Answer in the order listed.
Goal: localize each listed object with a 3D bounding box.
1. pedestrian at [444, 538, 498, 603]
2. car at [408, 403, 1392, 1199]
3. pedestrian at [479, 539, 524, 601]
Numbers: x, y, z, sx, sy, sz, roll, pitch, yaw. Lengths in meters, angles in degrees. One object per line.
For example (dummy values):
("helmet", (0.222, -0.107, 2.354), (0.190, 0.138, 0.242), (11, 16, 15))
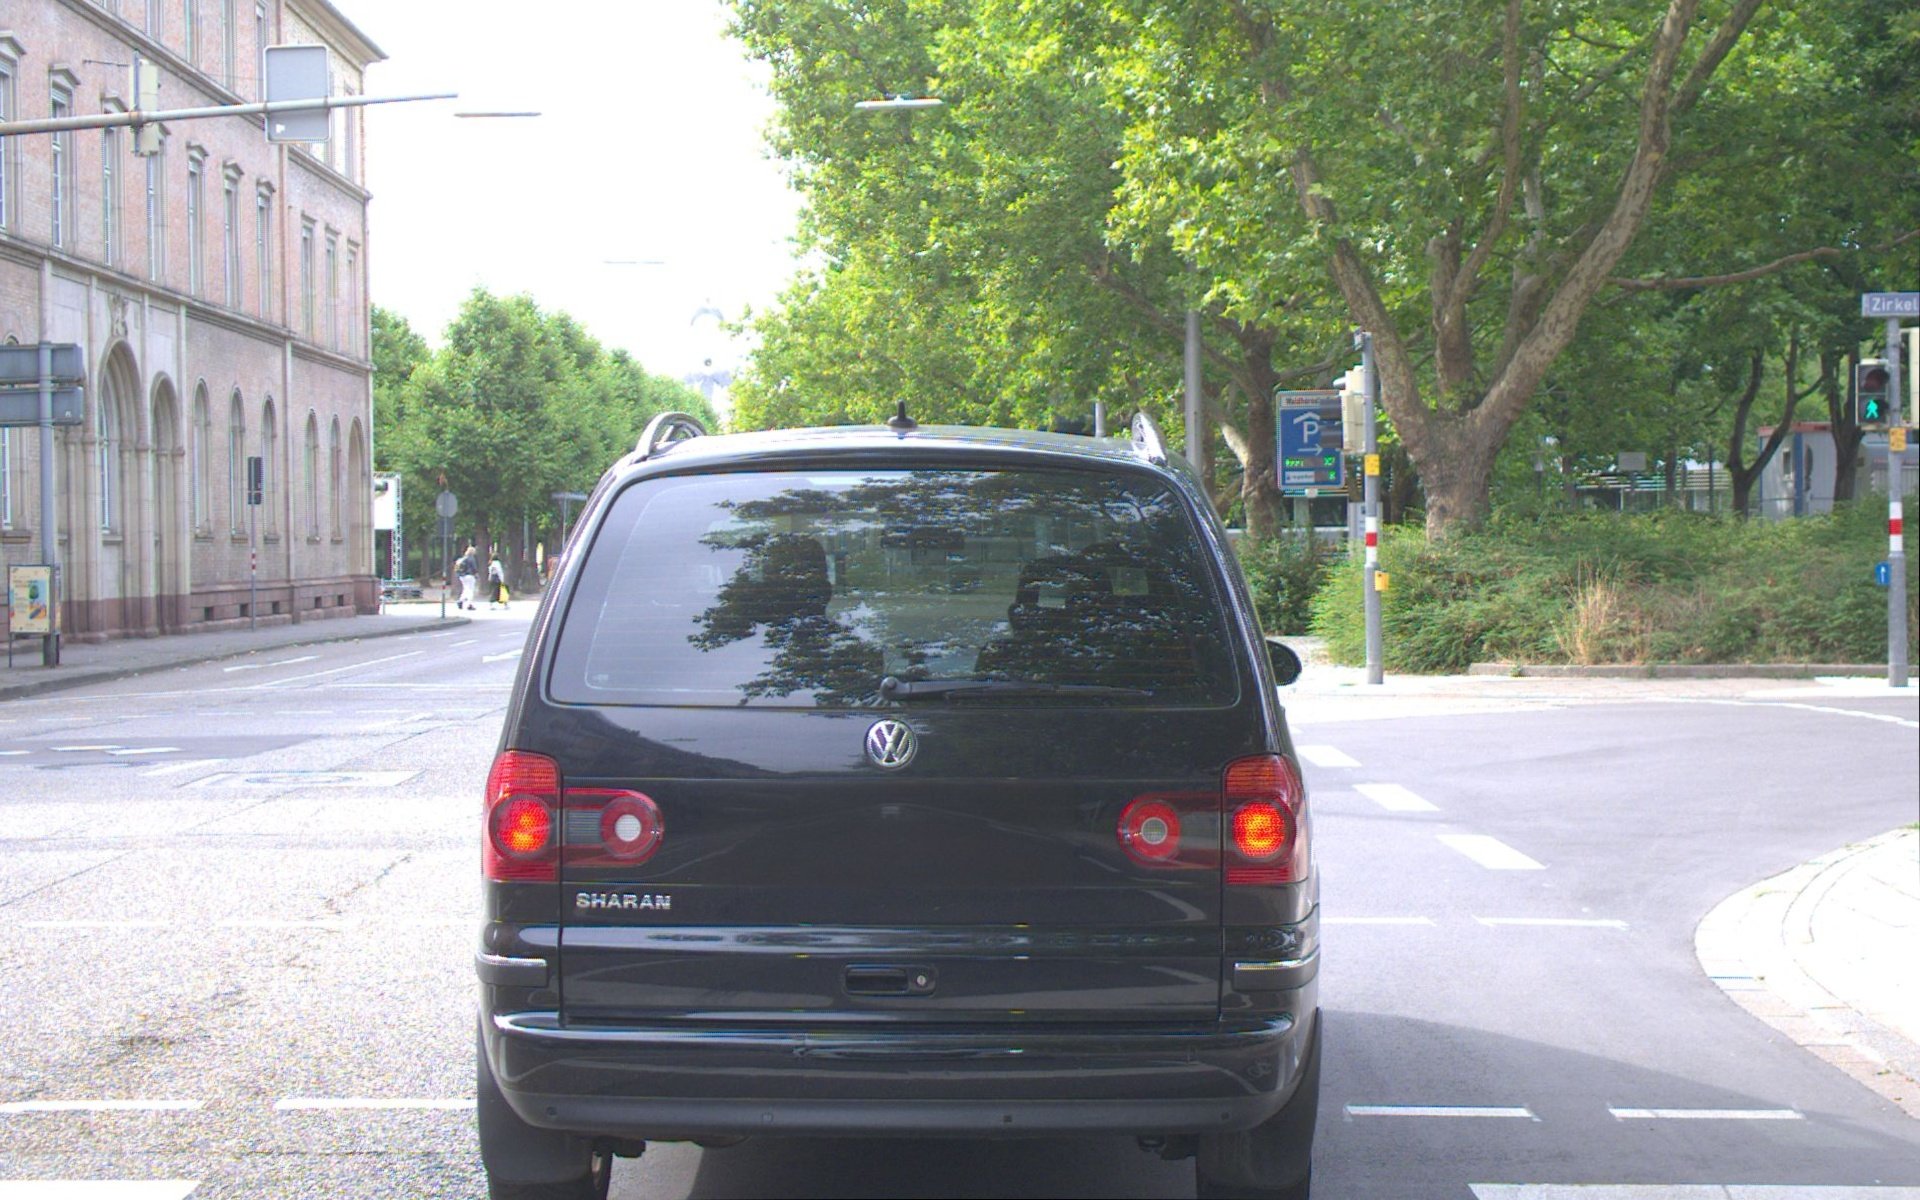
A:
("pedestrian", (-13.252, -0.802, 93.213), (0.961, 1.735, 1.255), (1, 1, 18))
("car", (-0.142, 0.466, 8.417), (1.793, 1.702, 4.131), (-1, 1, -1))
("pedestrian", (-12.407, -0.812, 93.007), (0.897, 1.635, 0.852), (1, 1, 18))
